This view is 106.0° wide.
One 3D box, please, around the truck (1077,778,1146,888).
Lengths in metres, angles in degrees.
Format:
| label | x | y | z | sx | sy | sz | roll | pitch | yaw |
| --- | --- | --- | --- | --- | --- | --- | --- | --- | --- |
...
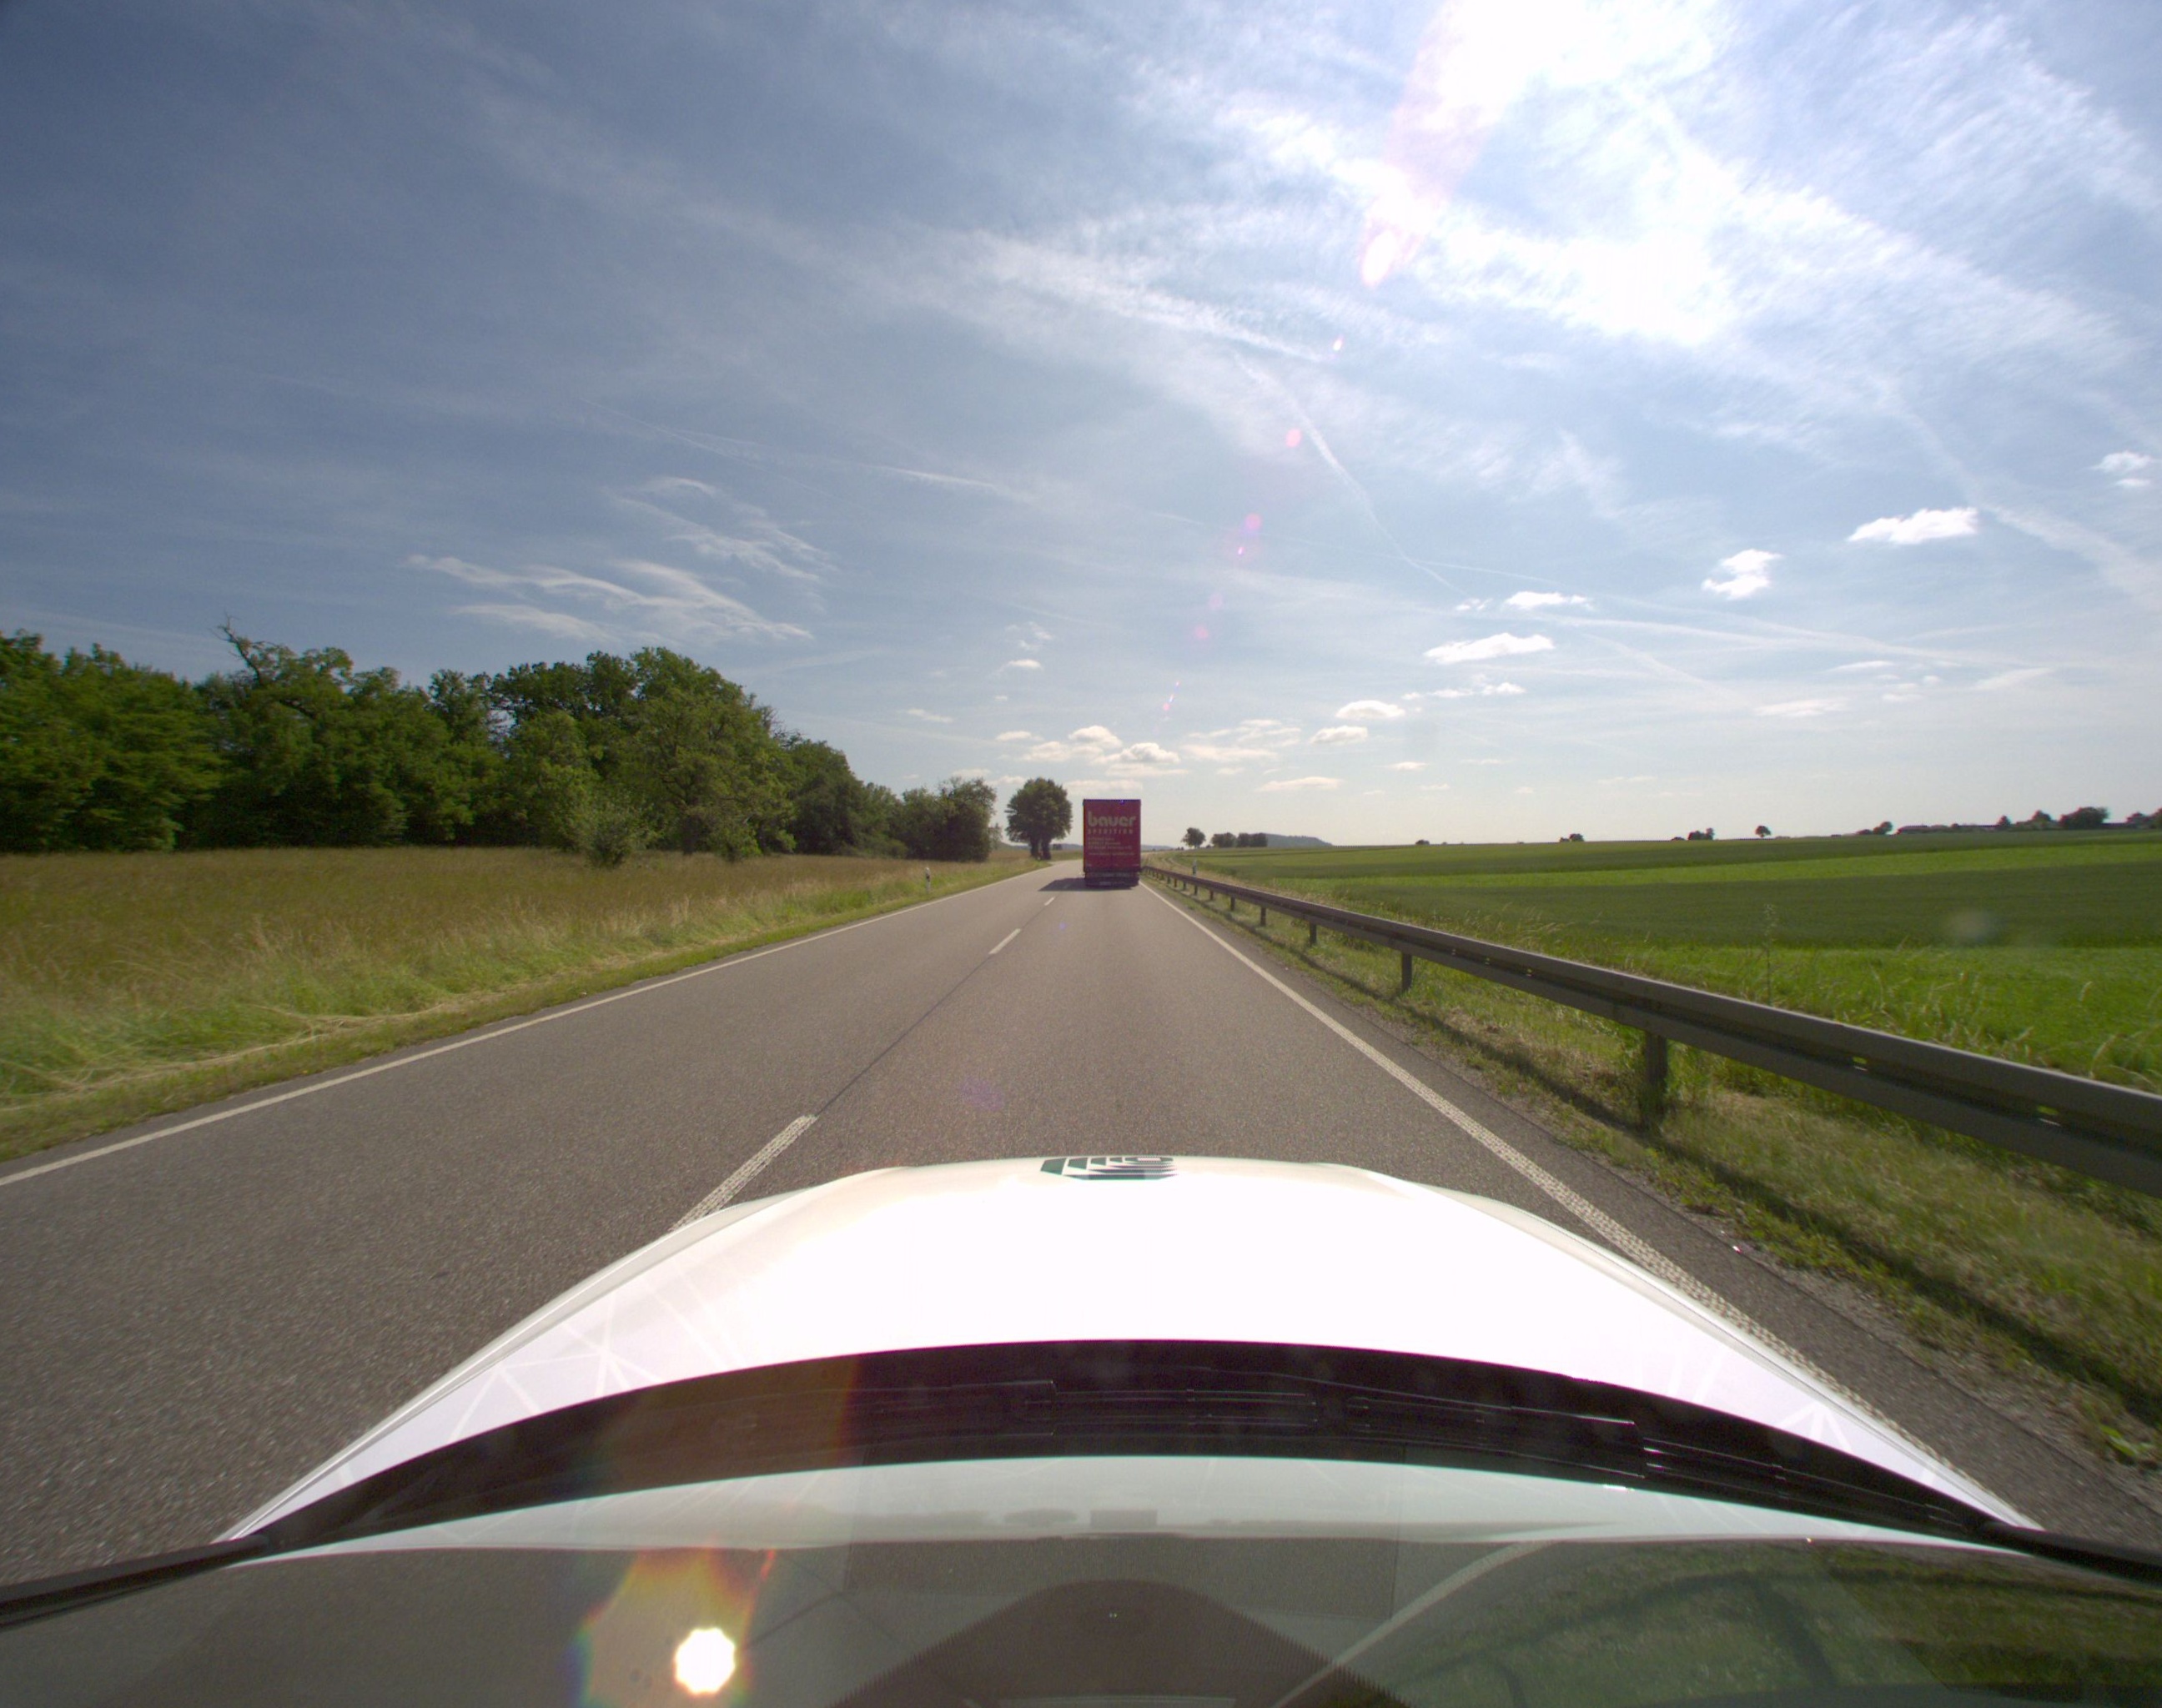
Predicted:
| label | x | y | z | sx | sy | sz | roll | pitch | yaw |
| --- | --- | --- | --- | --- | --- | --- | --- | --- | --- |
| truck | 1.394 | -0.863 | 39.918 | 2.965 | 4.713 | 9.366 | 0 | -1 | 1 |
